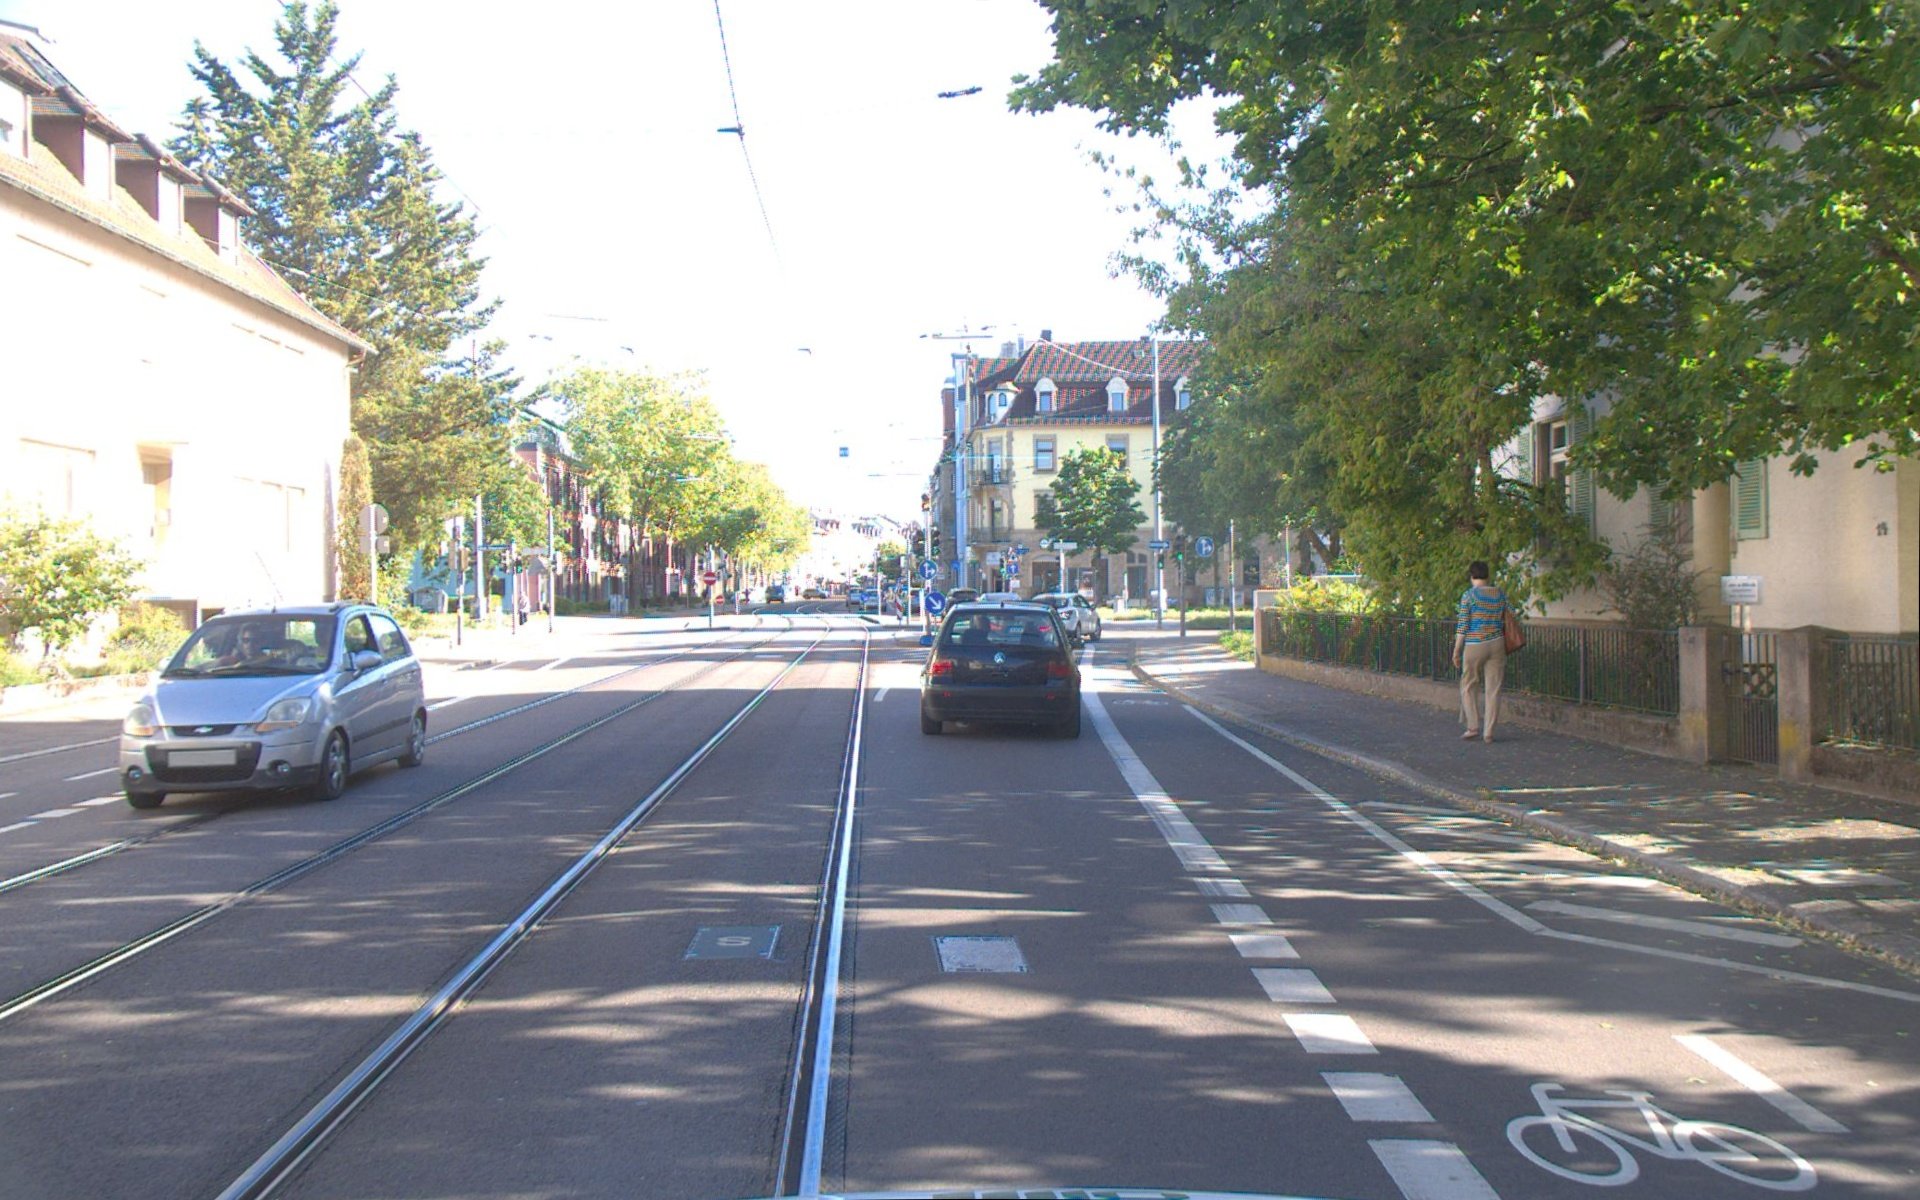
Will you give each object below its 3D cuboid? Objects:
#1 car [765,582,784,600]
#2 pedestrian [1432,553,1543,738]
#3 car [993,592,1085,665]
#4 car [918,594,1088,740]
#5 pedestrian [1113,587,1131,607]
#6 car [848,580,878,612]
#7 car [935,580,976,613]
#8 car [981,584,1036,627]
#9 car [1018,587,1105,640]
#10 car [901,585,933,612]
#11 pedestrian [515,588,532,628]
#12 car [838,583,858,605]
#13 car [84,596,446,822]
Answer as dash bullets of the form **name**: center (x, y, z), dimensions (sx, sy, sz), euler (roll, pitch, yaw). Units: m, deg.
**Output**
- **car**: center (-20.637, -1.001, 183.837), dimensions (1.934, 1.847, 4.290), euler (-1, 0, -7)
- **pedestrian**: center (5.112, 0.423, 16.059), dimensions (0.703, 1.717, 0.869), euler (-2, 0, -4)
- **car**: center (1.610, 0.560, 34.900), dimensions (1.601, 1.396, 3.755), euler (-1, 0, -2)
- **car**: center (0.534, 0.665, 18.494), dimensions (1.680, 1.427, 4.008), euler (1, 0, 3)
- **pedestrian**: center (10.016, -0.167, 102.236), dimensions (0.960, 1.208, 0.743), euler (-1, 0, -4)
- **car**: center (-6.098, -0.259, 103.279), dimensions (1.752, 1.892, 3.996), euler (-1, 0, -5)
- **car**: center (-0.218, -0.153, 75.390), dimensions (1.539, 1.334, 3.495), euler (-1, -2, -5)
- **car**: center (1.706, 0.180, 59.271), dimensions (1.539, 1.334, 3.644), euler (-1, 3, -5)
- **car**: center (3.015, 0.370, 48.526), dimensions (1.703, 1.466, 3.812), euler (-1, 0, 17)
- **car**: center (-2.503, -0.094, 95.090), dimensions (1.648, 1.479, 3.376), euler (-1, 0, -5)
- **pedestrian**: center (-19.073, 0.340, 72.297), dimensions (0.600, 1.719, 0.729), euler (2, 0, -21)
- **car**: center (-9.975, -0.534, 146.980), dimensions (1.752, 1.892, 3.996), euler (-1, 0, -5)
- **car**: center (-5.366, 0.753, 13.229), dimensions (1.544, 1.503, 3.439), euler (-2, 0, -3)
